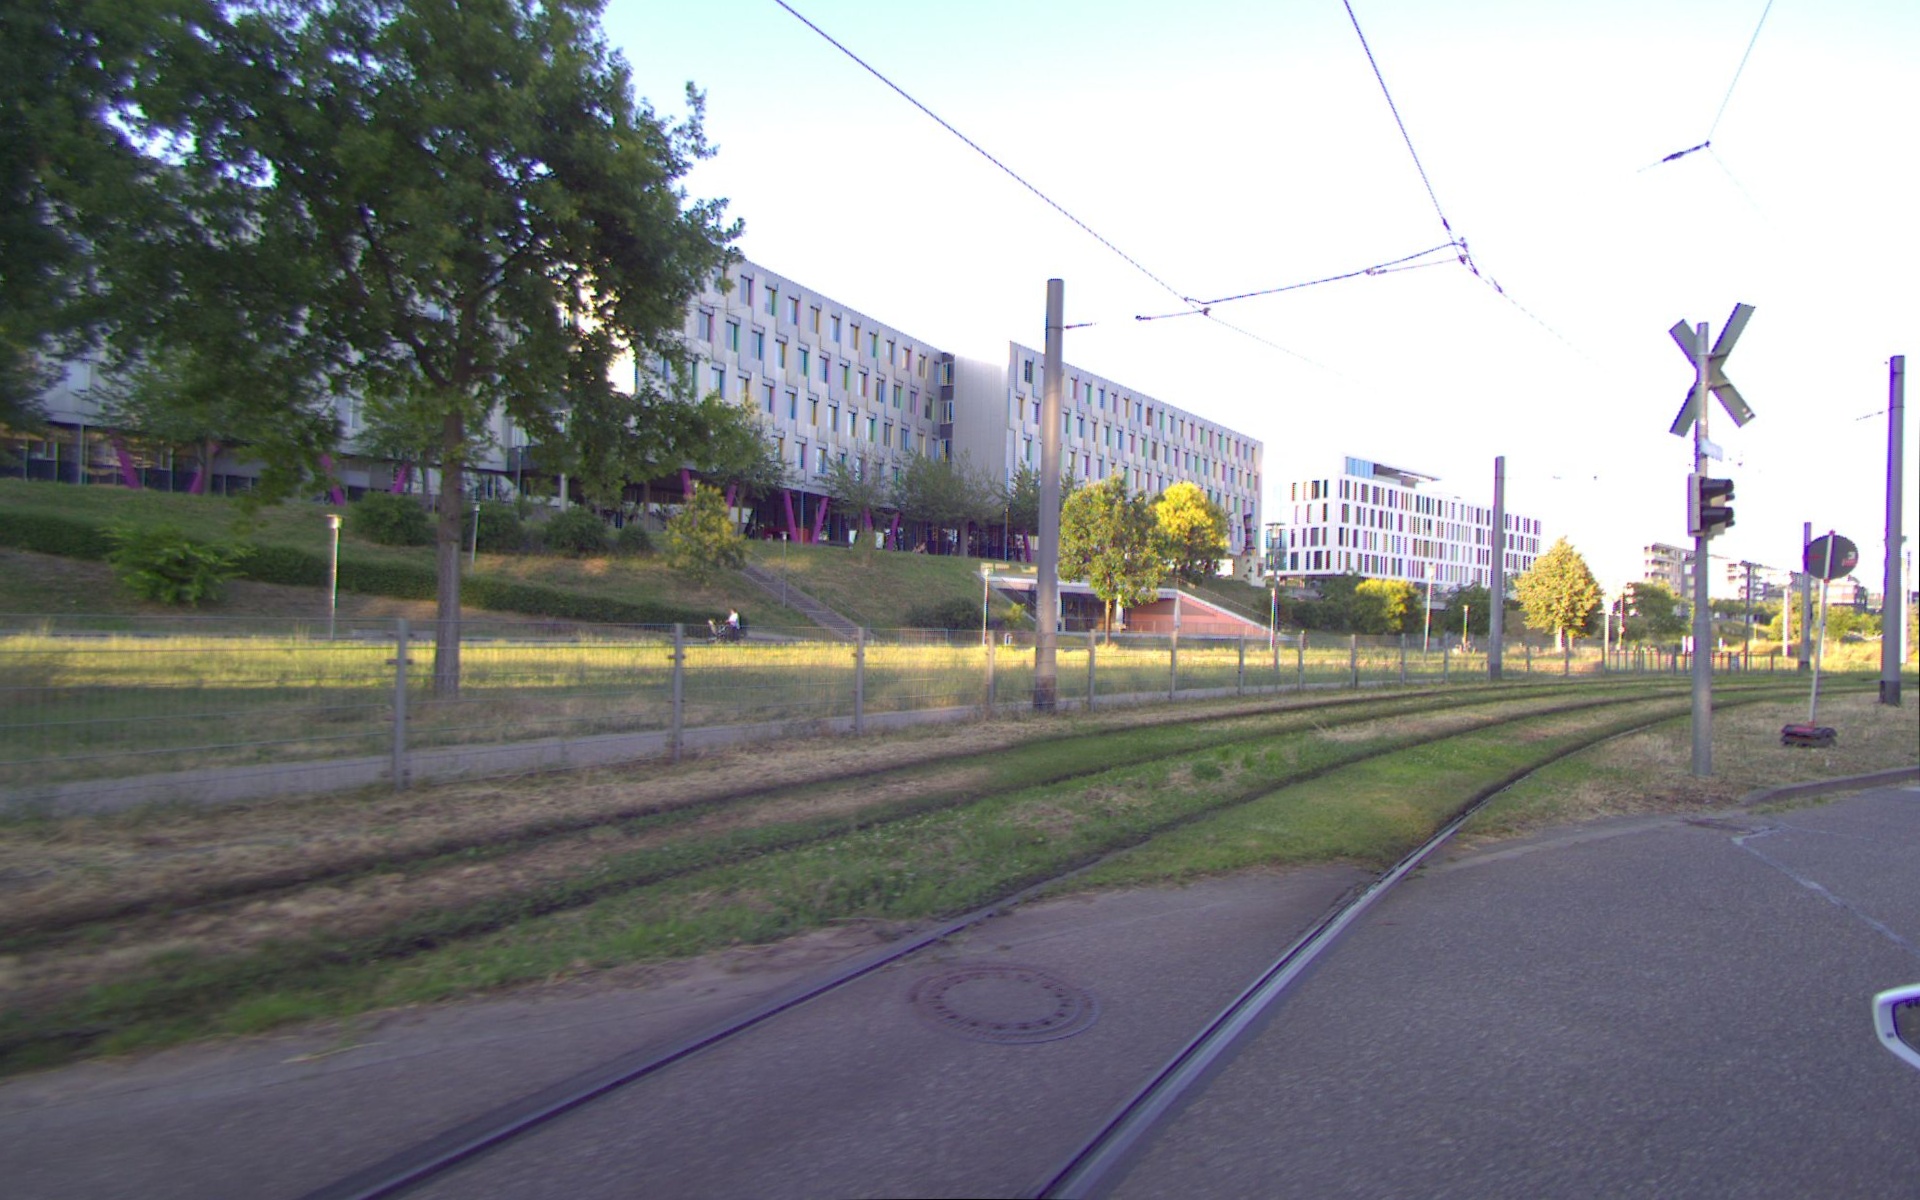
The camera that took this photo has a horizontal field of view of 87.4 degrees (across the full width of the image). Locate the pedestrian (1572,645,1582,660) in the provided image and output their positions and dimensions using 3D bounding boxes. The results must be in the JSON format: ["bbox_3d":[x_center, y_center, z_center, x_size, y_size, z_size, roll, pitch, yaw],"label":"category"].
[{"bbox_3d":[75.707,6.425,123.284,0.804,1.810,0.783,2,-2,-29],"label":"pedestrian"}]

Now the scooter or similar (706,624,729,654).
[{"bbox_3d":[-10.753,1.722,44.497,0.782,1.260,0.612,2,0,-34],"label":"scooter or similar"}]

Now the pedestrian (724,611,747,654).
[{"bbox_3d":[-10.056,1.455,44.974,0.782,1.861,0.612,2,0,-34],"label":"pedestrian"}]

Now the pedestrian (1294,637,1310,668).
[{"bbox_3d":[23.729,3.633,69.739,0.782,2.110,0.612,2,0,-34],"label":"pedestrian"}]
